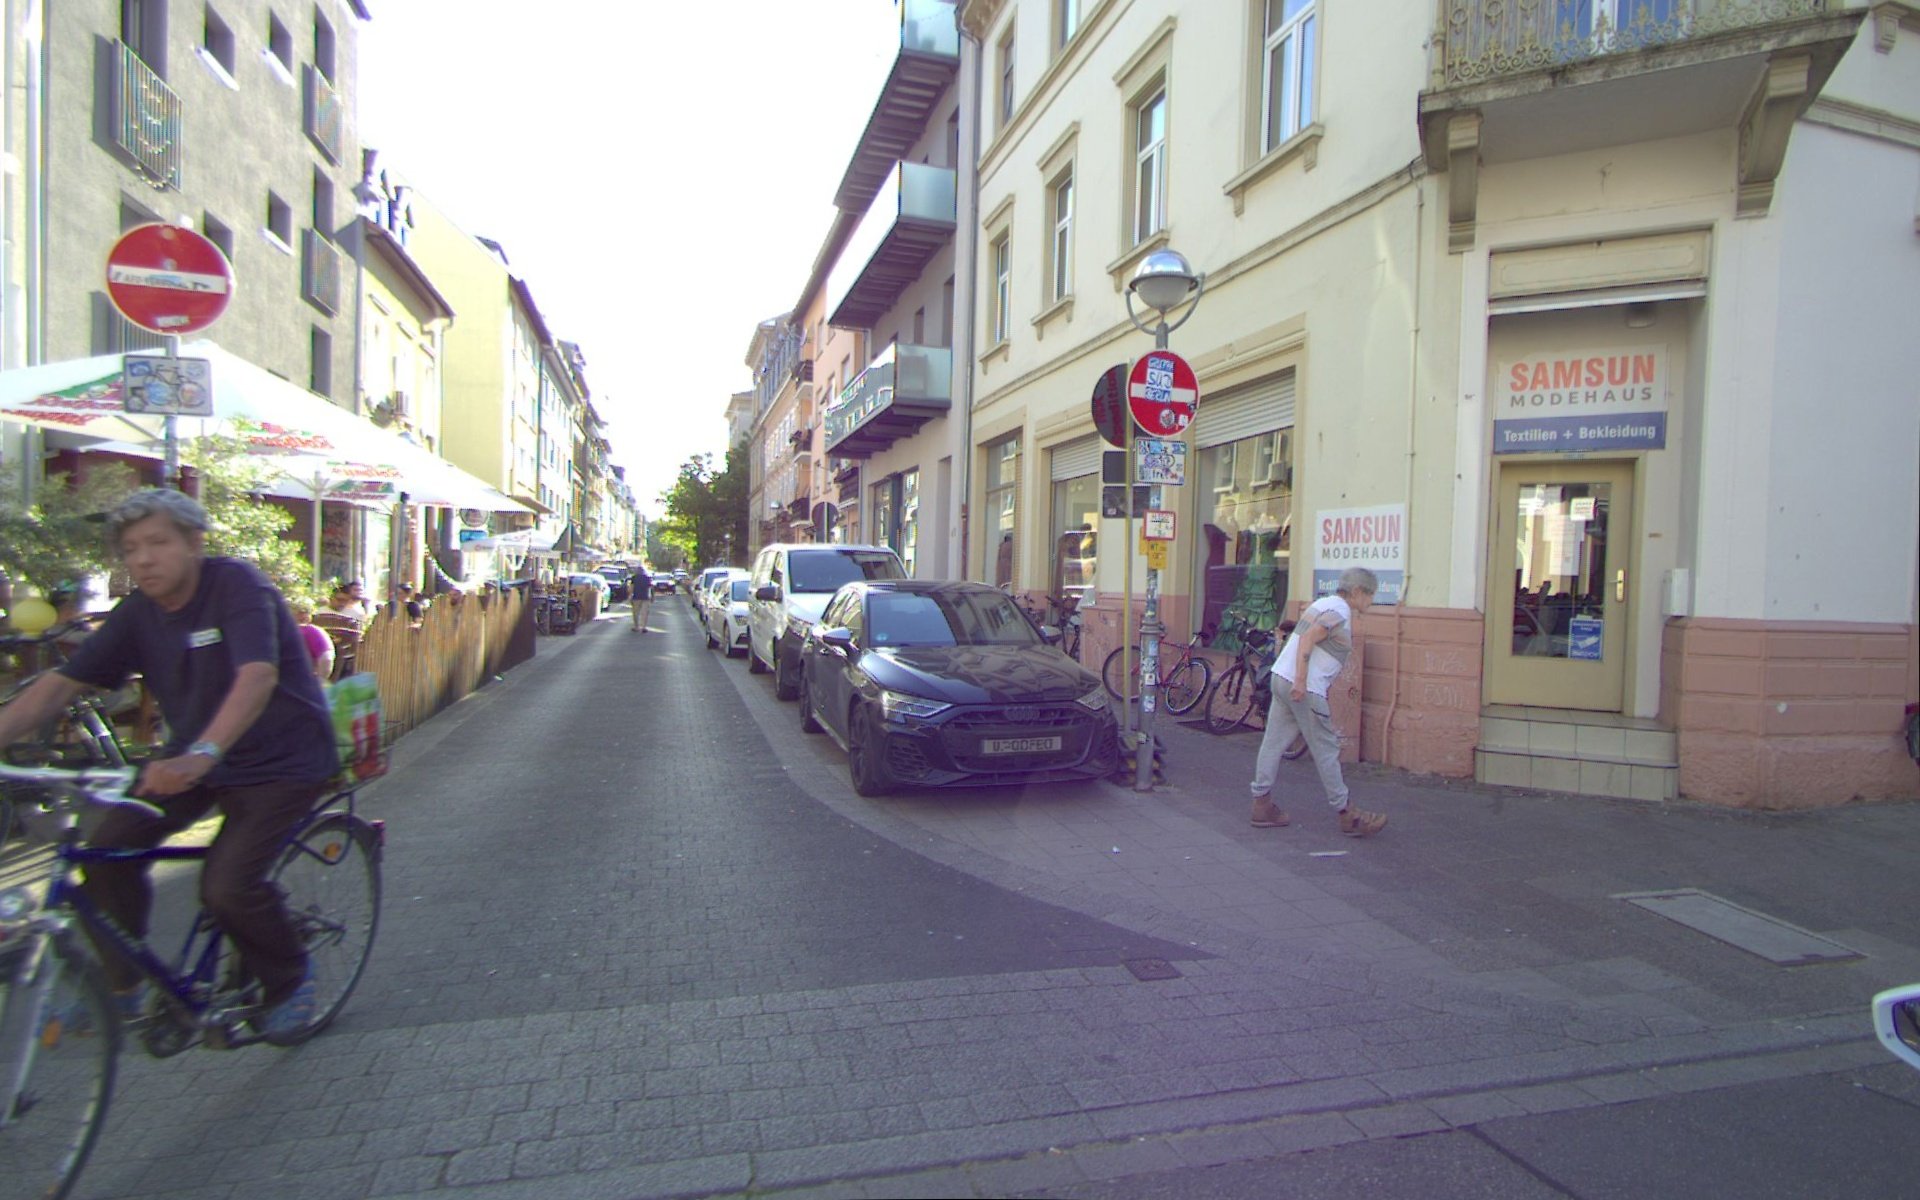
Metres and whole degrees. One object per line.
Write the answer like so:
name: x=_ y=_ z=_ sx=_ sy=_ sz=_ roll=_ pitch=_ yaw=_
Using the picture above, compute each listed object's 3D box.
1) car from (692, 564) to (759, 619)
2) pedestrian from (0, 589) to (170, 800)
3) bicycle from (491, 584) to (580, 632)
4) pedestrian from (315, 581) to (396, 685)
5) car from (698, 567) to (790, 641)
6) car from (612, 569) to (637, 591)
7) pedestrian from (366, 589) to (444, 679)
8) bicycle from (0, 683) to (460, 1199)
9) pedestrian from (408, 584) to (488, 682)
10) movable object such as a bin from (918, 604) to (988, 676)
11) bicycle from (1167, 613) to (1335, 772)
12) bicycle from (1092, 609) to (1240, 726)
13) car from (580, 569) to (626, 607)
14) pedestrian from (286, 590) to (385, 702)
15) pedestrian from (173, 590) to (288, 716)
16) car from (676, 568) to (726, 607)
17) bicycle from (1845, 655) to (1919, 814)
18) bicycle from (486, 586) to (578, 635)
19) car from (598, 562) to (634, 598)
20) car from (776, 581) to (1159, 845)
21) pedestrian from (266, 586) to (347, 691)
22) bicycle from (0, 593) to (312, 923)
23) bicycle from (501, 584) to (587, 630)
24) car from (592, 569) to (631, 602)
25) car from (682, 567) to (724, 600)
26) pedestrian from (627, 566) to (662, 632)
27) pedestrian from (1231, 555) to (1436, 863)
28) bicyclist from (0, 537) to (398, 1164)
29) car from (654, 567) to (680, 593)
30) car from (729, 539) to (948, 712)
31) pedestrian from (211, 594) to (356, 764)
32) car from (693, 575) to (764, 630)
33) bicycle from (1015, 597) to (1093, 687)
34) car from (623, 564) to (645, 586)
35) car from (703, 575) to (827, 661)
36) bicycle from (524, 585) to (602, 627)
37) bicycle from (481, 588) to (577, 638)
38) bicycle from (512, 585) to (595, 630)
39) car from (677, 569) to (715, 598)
car: x=-8.006 y=-0.335 z=34.058 sx=1.745 sy=1.737 sz=4.138 roll=1 pitch=1 yaw=-20
pedestrian: x=-5.738 y=0.592 z=6.574 sx=0.649 sy=1.283 sz=0.686 roll=2 pitch=2 yaw=-13
bicycle: x=-10.434 y=0.204 z=24.737 sx=1.894 sy=1.085 sz=0.611 roll=2 pitch=2 yaw=-12
pedestrian: x=-7.879 y=0.410 z=13.104 sx=0.602 sy=1.283 sz=0.660 roll=3 pitch=2 yaw=13
car: x=-5.291 y=0.030 z=24.190 sx=1.743 sy=1.590 sz=4.394 roll=1 pitch=1 yaw=-17
car: x=-26.433 y=-1.590 z=79.242 sx=1.743 sy=1.596 sz=4.141 roll=1 pitch=1 yaw=-17
pedestrian: x=-6.976 y=0.416 z=12.653 sx=0.666 sy=1.068 sz=0.722 roll=2 pitch=2 yaw=-12
bicycle: x=-2.096 y=0.919 z=2.742 sx=0.697 sy=1.126 sz=1.932 roll=1 pitch=3 yaw=-7
pedestrian: x=-7.066 y=0.433 z=13.873 sx=0.710 sy=1.283 sz=0.679 roll=3 pitch=2 yaw=26
movable object such as a bin: x=-0.153 y=0.704 z=18.244 sx=0.872 sy=1.162 sz=1.612 roll=2 pitch=2 yaw=-14
bicycle: x=2.521 y=0.752 z=8.960 sx=0.601 sy=1.164 sz=1.924 roll=2 pitch=2 yaw=-10
bicycle: x=2.230 y=0.701 z=11.154 sx=0.603 sy=1.085 sz=1.917 roll=1 pitch=2 yaw=-22
car: x=-15.878 y=-0.565 z=44.824 sx=1.743 sy=1.590 sz=4.141 roll=1 pitch=1 yaw=-17
pedestrian: x=-6.919 y=0.484 z=11.136 sx=0.648 sy=1.160 sz=0.688 roll=3 pitch=2 yaw=27
pedestrian: x=-7.213 y=0.510 z=9.956 sx=0.668 sy=1.170 sz=0.659 roll=2 pitch=2 yaw=-7
car: x=-11.569 y=-0.591 z=44.698 sx=1.745 sy=1.590 sz=4.138 roll=1 pitch=1 yaw=-20
bicycle: x=7.444 y=0.976 z=7.275 sx=1.789 sy=1.036 sz=0.603 roll=2 pitch=5 yaw=-17
bicycle: x=-10.203 y=0.248 z=24.004 sx=1.894 sy=1.085 sz=0.611 roll=2 pitch=2 yaw=-12
car: x=-19.566 y=-1.153 z=57.233 sx=1.743 sy=1.898 sz=4.141 roll=1 pitch=1 yaw=-17
car: x=-0.258 y=0.634 z=8.056 sx=1.732 sy=1.475 sz=4.133 roll=1 pitch=1 yaw=-20
pedestrian: x=-7.653 y=0.433 z=11.762 sx=0.648 sy=1.160 sz=0.542 roll=3 pitch=2 yaw=27
bicycle: x=-4.514 y=0.677 z=5.481 sx=0.913 sy=1.377 sz=2.475 roll=2 pitch=1 yaw=-15
bicycle: x=-10.568 y=0.183 z=25.566 sx=1.894 sy=1.085 sz=0.611 roll=2 pitch=2 yaw=-12
car: x=-18.182 y=-0.790 z=52.564 sx=1.743 sy=1.590 sz=4.141 roll=1 pitch=1 yaw=-17
car: x=-13.657 y=-0.910 z=53.269 sx=1.745 sy=1.674 sz=4.138 roll=1 pitch=1 yaw=-20
pedestrian: x=-8.175 y=-0.035 z=25.997 sx=0.815 sy=1.673 sz=0.739 roll=2 pitch=2 yaw=-19
pedestrian: x=2.245 y=0.611 z=6.126 sx=0.851 sy=1.725 sz=0.693 roll=-1 pitch=6 yaw=-16
bicyclist: x=-2.064 y=0.572 z=2.718 sx=0.697 sy=1.455 sz=0.788 roll=1 pitch=3 yaw=-7
car: x=-22.015 y=-1.526 z=75.373 sx=1.743 sy=1.898 sz=4.141 roll=1 pitch=1 yaw=-17
car: x=-1.871 y=0.210 z=13.584 sx=1.829 sy=1.875 sz=5.078 roll=1 pitch=1 yaw=-20
pedestrian: x=-5.471 y=0.616 z=8.175 sx=0.694 sy=1.283 sz=0.848 roll=2 pitch=2 yaw=-13
car: x=-6.730 y=0.031 z=29.022 sx=1.574 sy=1.458 sz=3.568 roll=1 pitch=1 yaw=-20
bicycle: x=1.331 y=0.576 z=14.600 sx=0.601 sy=1.137 sz=1.924 roll=2 pitch=2 yaw=-10
car: x=-31.882 y=-2.468 z=98.422 sx=1.966 sy=2.115 sz=5.479 roll=1 pitch=1 yaw=-17
car: x=-3.810 y=0.273 z=19.137 sx=1.732 sy=1.429 sz=3.948 roll=1 pitch=1 yaw=-20
bicycle: x=-10.974 y=0.168 z=27.788 sx=1.894 sy=1.085 sz=0.611 roll=2 pitch=2 yaw=-12
bicycle: x=-9.842 y=0.289 z=22.987 sx=1.912 sy=1.085 sz=0.605 roll=1 pitch=3 yaw=-40
bicycle: x=-10.677 y=0.201 z=26.428 sx=1.894 sy=1.085 sz=0.611 roll=2 pitch=2 yaw=-12
car: x=-15.191 y=-0.983 z=57.696 sx=1.745 sy=1.590 sz=4.138 roll=1 pitch=1 yaw=-20
